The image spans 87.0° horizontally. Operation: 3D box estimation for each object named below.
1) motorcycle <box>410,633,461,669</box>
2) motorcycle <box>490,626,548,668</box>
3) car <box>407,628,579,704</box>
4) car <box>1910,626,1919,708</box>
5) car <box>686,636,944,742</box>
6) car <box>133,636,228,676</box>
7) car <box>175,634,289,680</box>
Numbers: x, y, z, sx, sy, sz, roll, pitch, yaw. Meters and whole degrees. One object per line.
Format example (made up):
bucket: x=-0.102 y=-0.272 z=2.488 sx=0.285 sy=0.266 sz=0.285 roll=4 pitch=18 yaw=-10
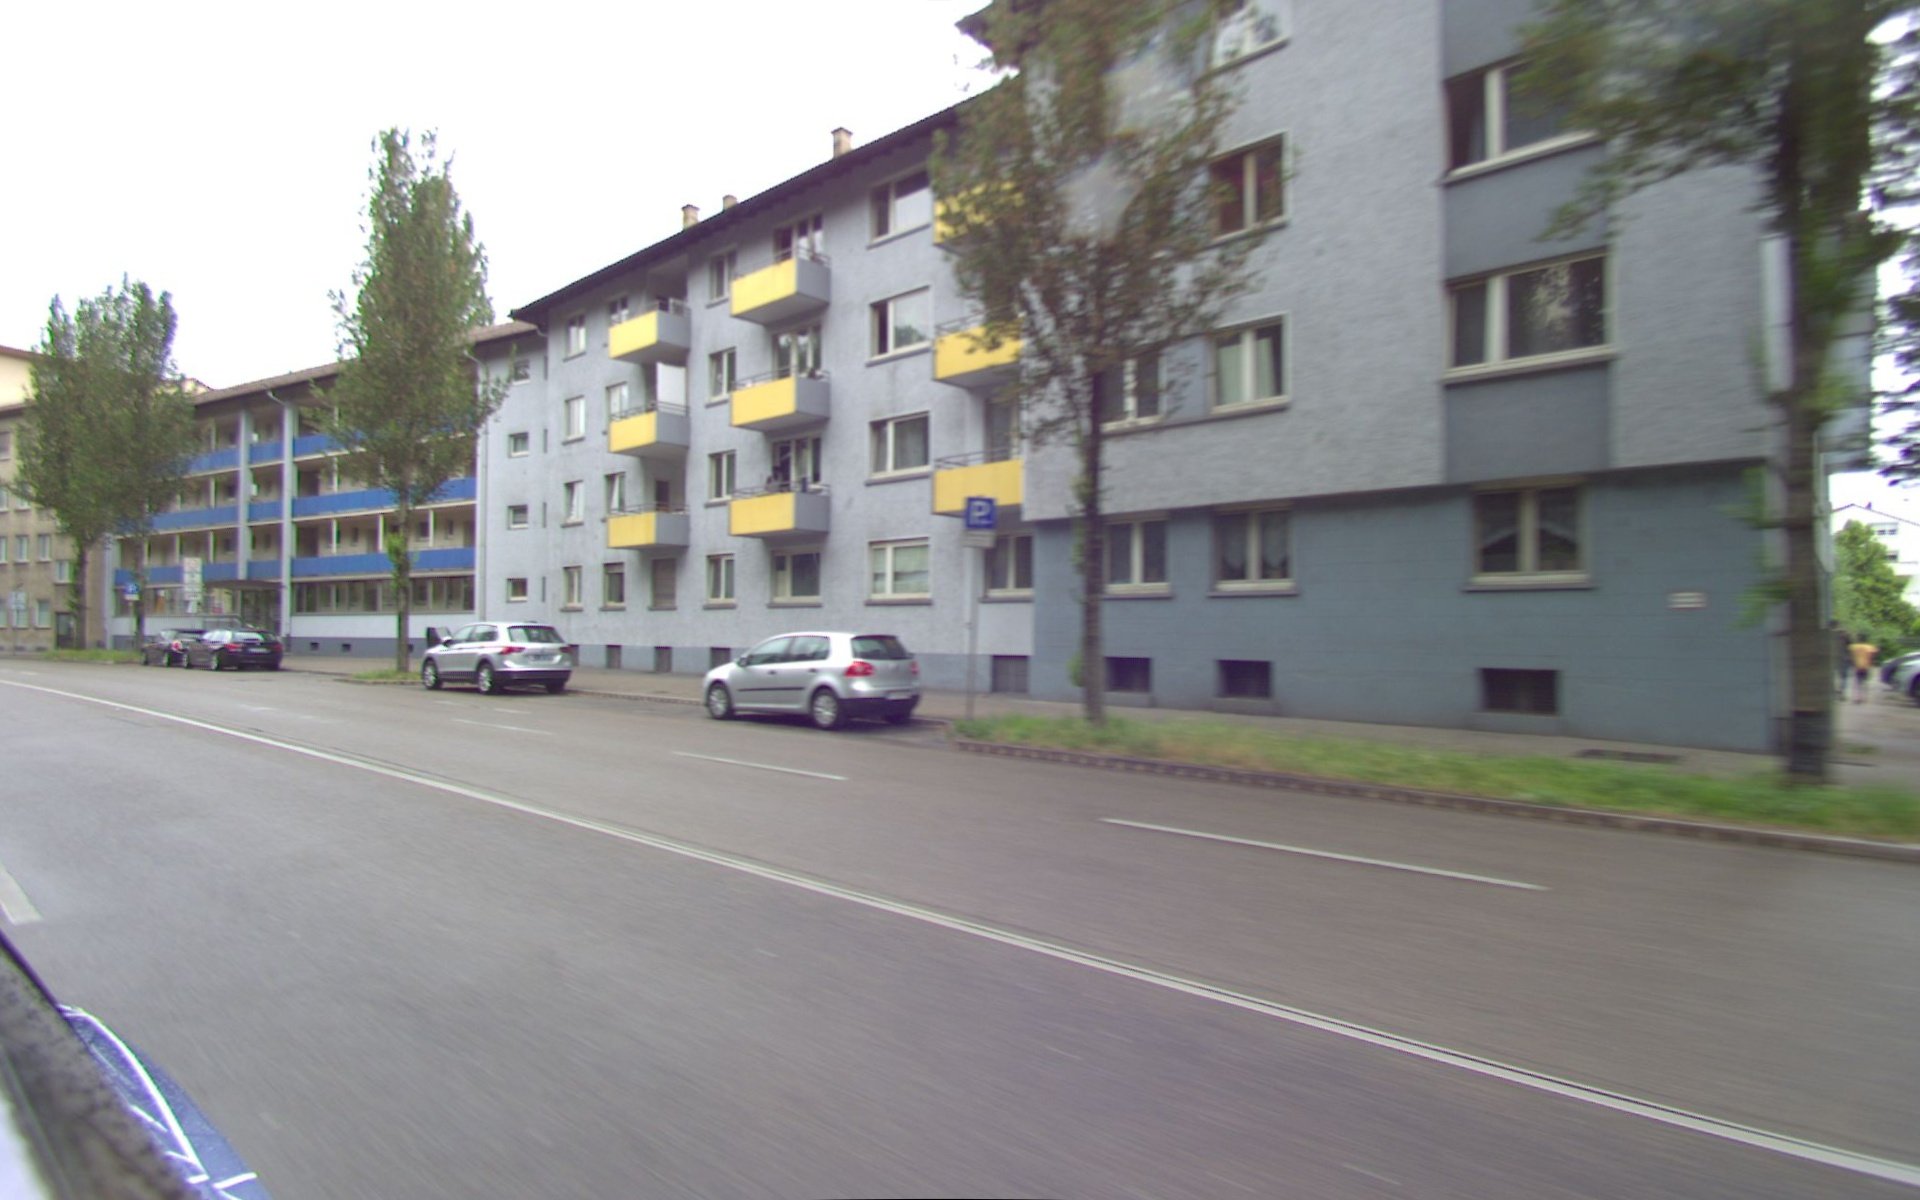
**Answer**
motorcycle: x=-19.678 y=1.904 z=37.982 sx=2.229 sy=1.263 sz=0.670 roll=-1 pitch=0 yaw=33
motorcycle: x=-15.533 y=1.637 z=35.589 sx=2.227 sy=1.424 sz=0.670 roll=-1 pitch=0 yaw=30
car: x=-10.872 y=1.472 z=23.453 sx=4.527 sy=1.616 sz=1.747 roll=-1 pitch=-3 yaw=38
car: x=21.900 y=1.373 z=20.072 sx=1.789 sy=1.737 sz=4.013 roll=0 pitch=-2 yaw=-20
car: x=-2.416 y=1.334 z=16.260 sx=4.201 sy=1.464 sz=1.707 roll=-1 pitch=-3 yaw=39
car: x=-29.572 y=2.104 z=38.349 sx=4.081 sy=1.414 sz=1.763 roll=-1 pitch=-4 yaw=37
car: x=-25.106 y=1.946 z=34.843 sx=4.884 sy=1.450 sz=1.804 roll=-1 pitch=-4 yaw=37
